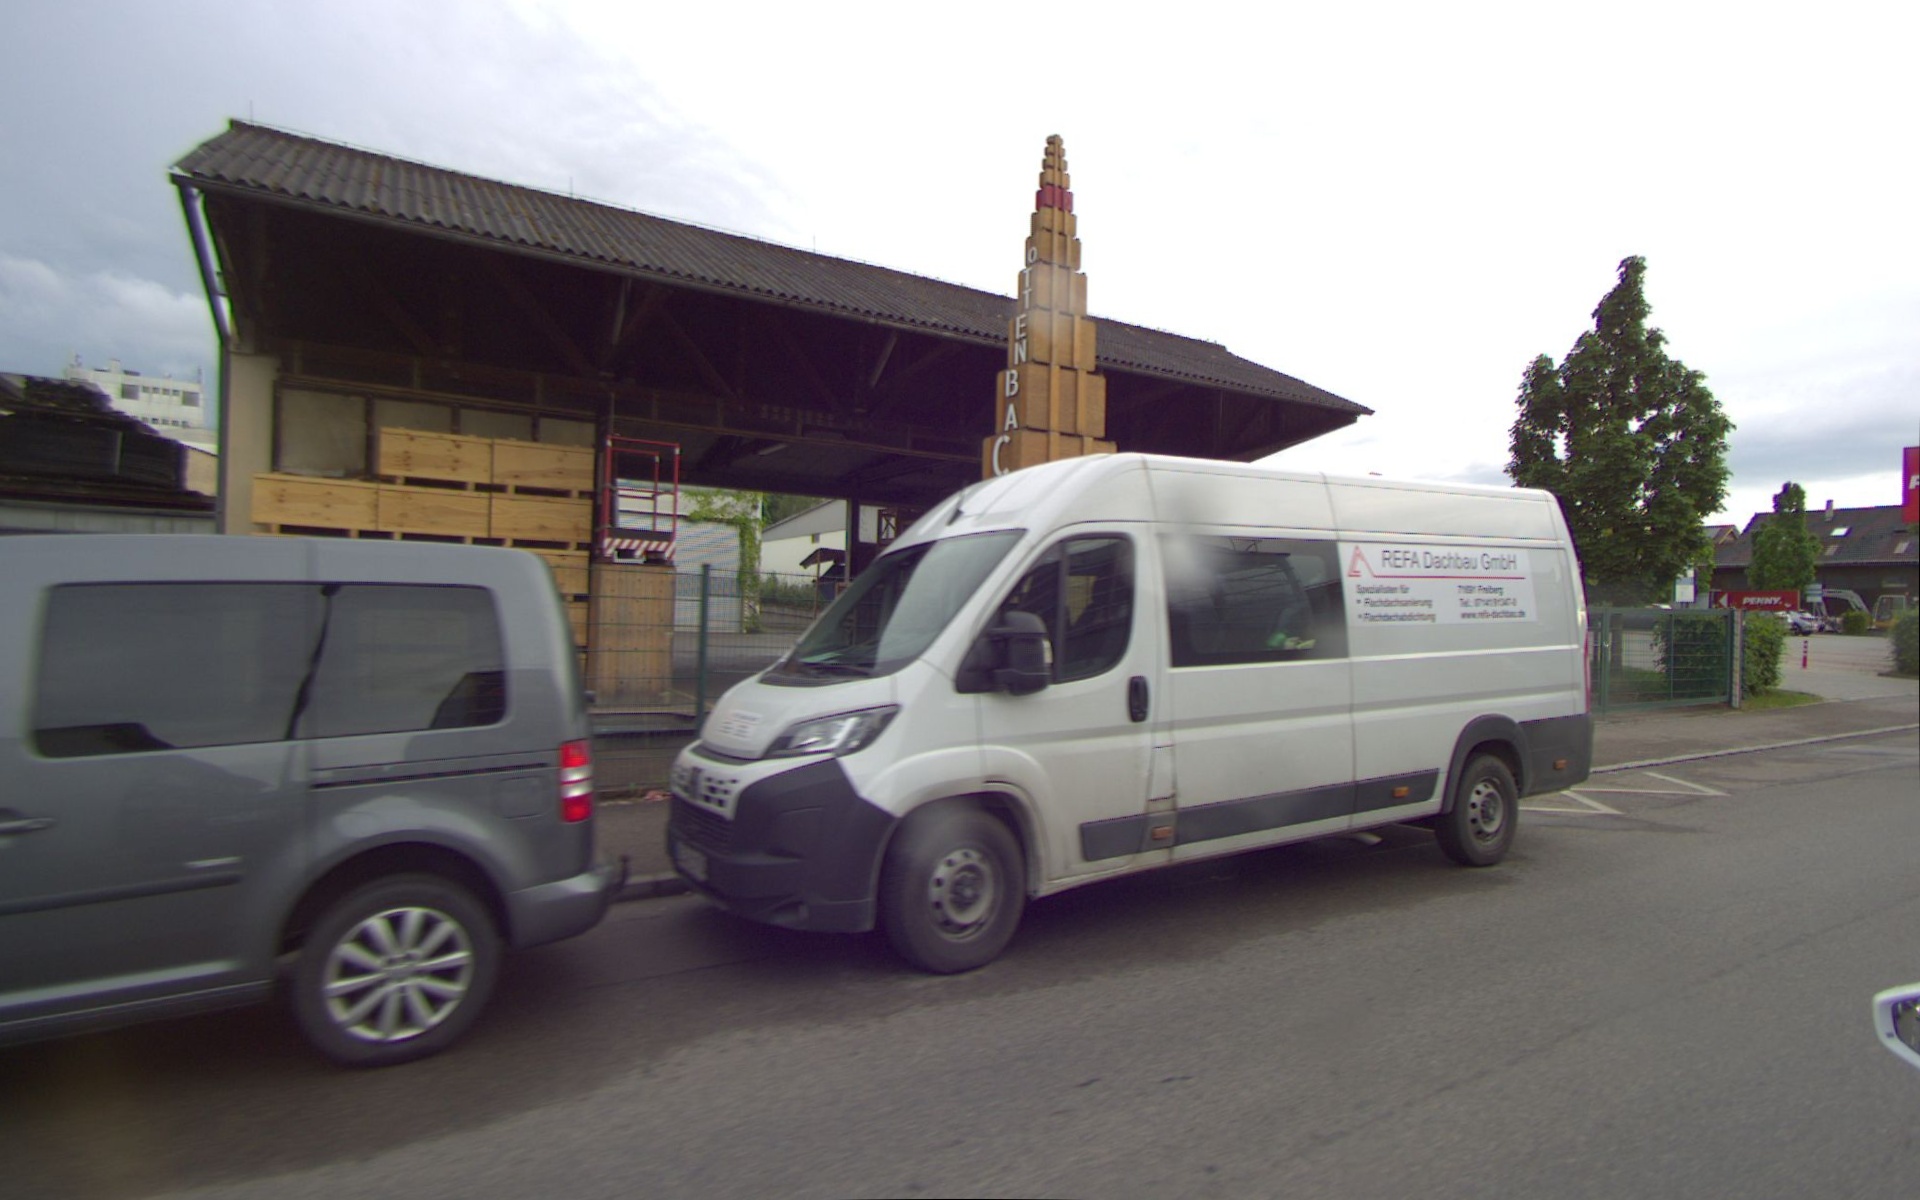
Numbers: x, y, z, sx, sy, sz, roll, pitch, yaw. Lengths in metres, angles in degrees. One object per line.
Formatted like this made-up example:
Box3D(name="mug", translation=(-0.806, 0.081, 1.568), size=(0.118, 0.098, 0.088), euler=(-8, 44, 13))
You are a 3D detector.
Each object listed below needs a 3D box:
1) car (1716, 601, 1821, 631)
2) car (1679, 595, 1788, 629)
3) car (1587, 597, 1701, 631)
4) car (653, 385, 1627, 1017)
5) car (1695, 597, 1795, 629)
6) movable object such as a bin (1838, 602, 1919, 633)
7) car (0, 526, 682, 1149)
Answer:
Box3D(name="car", translation=(43.772, 0.842, 54.479), size=(1.894, 1.497, 4.036), euler=(1, 1, -29))
Box3D(name="car", translation=(39.646, 0.614, 51.549), size=(1.867, 1.572, 4.027), euler=(1, 1, -35))
Box3D(name="car", translation=(31.471, 0.619, 46.326), size=(1.786, 1.406, 3.950), euler=(1, 1, -35))
Box3D(name="car", translation=(1.500, 0.480, 6.512), size=(6.386, 2.458, 2.148), euler=(1, -3, -31))
Box3D(name="car", translation=(41.611, 0.675, 53.298), size=(1.678, 1.540, 3.864), euler=(1, 1, -35))
Box3D(name="movable object such as a bin", translation=(57.480, 1.100, 62.882), size=(1.982, 1.783, 3.396), euler=(1, 1, -37))
Box3D(name="car", translation=(-3.408, 0.728, 3.557), size=(4.395, 1.791, 1.761), euler=(1, -4, -31))
